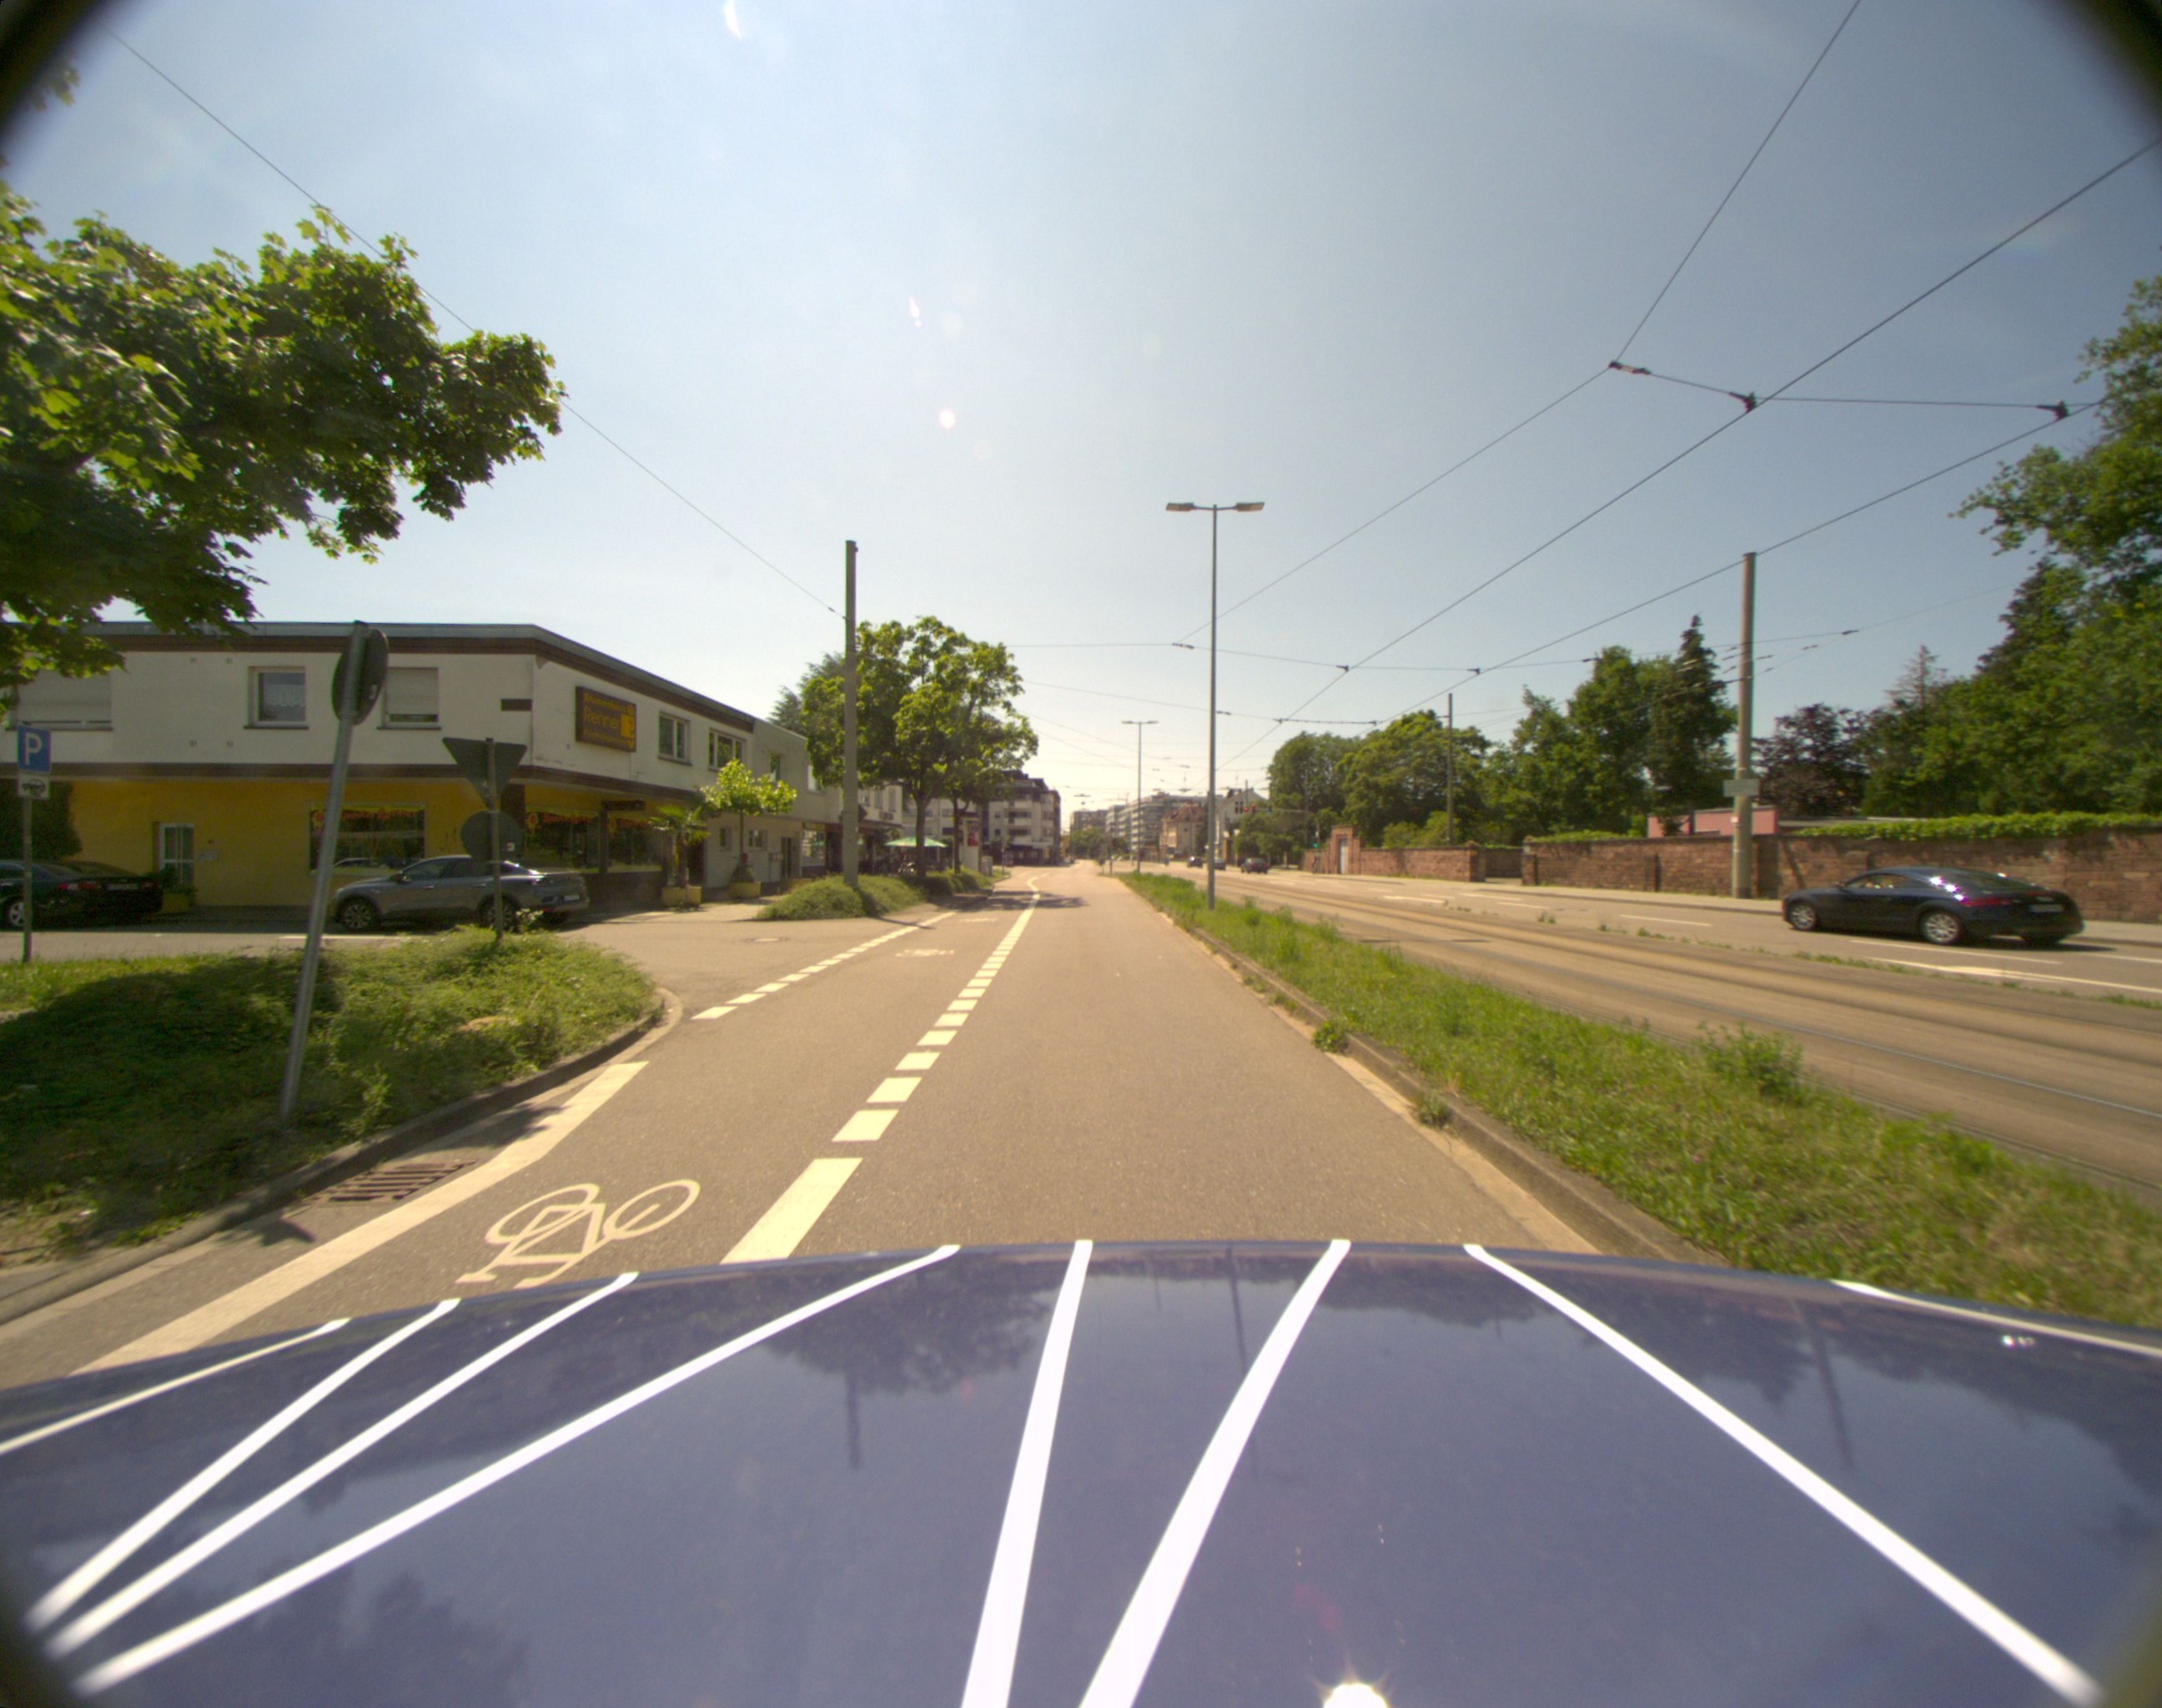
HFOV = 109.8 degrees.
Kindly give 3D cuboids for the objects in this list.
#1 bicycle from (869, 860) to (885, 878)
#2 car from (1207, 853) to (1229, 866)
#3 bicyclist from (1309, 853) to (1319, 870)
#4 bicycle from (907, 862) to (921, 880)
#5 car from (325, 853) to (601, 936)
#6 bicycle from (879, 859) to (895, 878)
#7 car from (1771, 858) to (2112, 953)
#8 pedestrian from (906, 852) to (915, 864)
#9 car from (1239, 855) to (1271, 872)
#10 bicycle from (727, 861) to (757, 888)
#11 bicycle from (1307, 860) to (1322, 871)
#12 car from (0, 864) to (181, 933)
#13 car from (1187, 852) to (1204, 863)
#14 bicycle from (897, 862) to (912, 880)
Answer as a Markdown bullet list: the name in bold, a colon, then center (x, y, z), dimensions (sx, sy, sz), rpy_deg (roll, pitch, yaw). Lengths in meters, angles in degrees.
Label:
- **bicycle**: center (-12.352, 0.886, 45.980), dimensions (0.544, 1.062, 2.021), rpy_deg (0, 0, -4)
- **car**: center (16.225, 0.666, 90.185), dimensions (1.845, 1.408, 4.711), rpy_deg (-3, 0, 1)
- **bicyclist**: center (20.012, 0.625, 65.156), dimensions (0.654, 1.488, 0.662), rpy_deg (-1, 1, -1)
- **bicycle**: center (-10.084, 1.027, 45.924), dimensions (0.544, 1.062, 2.021), rpy_deg (0, 0, -4)
- **car**: center (-12.817, 0.797, 15.993), dimensions (4.150, 1.601, 1.944), rpy_deg (0, 0, -2)
- **bicycle**: center (-11.751, 0.869, 46.053), dimensions (0.544, 1.062, 2.021), rpy_deg (0, 0, -4)
- **car**: center (15.542, 0.831, 14.138), dimensions (1.760, 1.440, 4.123), rpy_deg (-2, 0, 2)
- **pedestrian**: center (-21.992, 0.500, 97.861), dimensions (0.806, 1.615, 0.943), rpy_deg (0, 0, 7)
- **car**: center (15.925, 0.843, 69.872), dimensions (1.845, 1.408, 5.034), rpy_deg (-3, 0, 1)
- **bicycle**: center (-14.455, 0.858, 32.431), dimensions (0.544, 1.062, 1.900), rpy_deg (0, 0, -4)
- **bicycle**: center (20.017, 0.995, 65.132), dimensions (0.654, 0.951, 2.114), rpy_deg (-1, 0, -1)
- **car**: center (-22.294, 0.921, 16.211), dimensions (4.149, 1.367, 1.748), rpy_deg (0, 0, 1)
- **car**: center (16.324, 0.528, 108.466), dimensions (1.845, 1.546, 4.465), rpy_deg (0, 0, 0)
- **bicycle**: center (-10.672, 1.020, 45.910), dimensions (0.544, 1.062, 2.021), rpy_deg (0, 0, -4)
